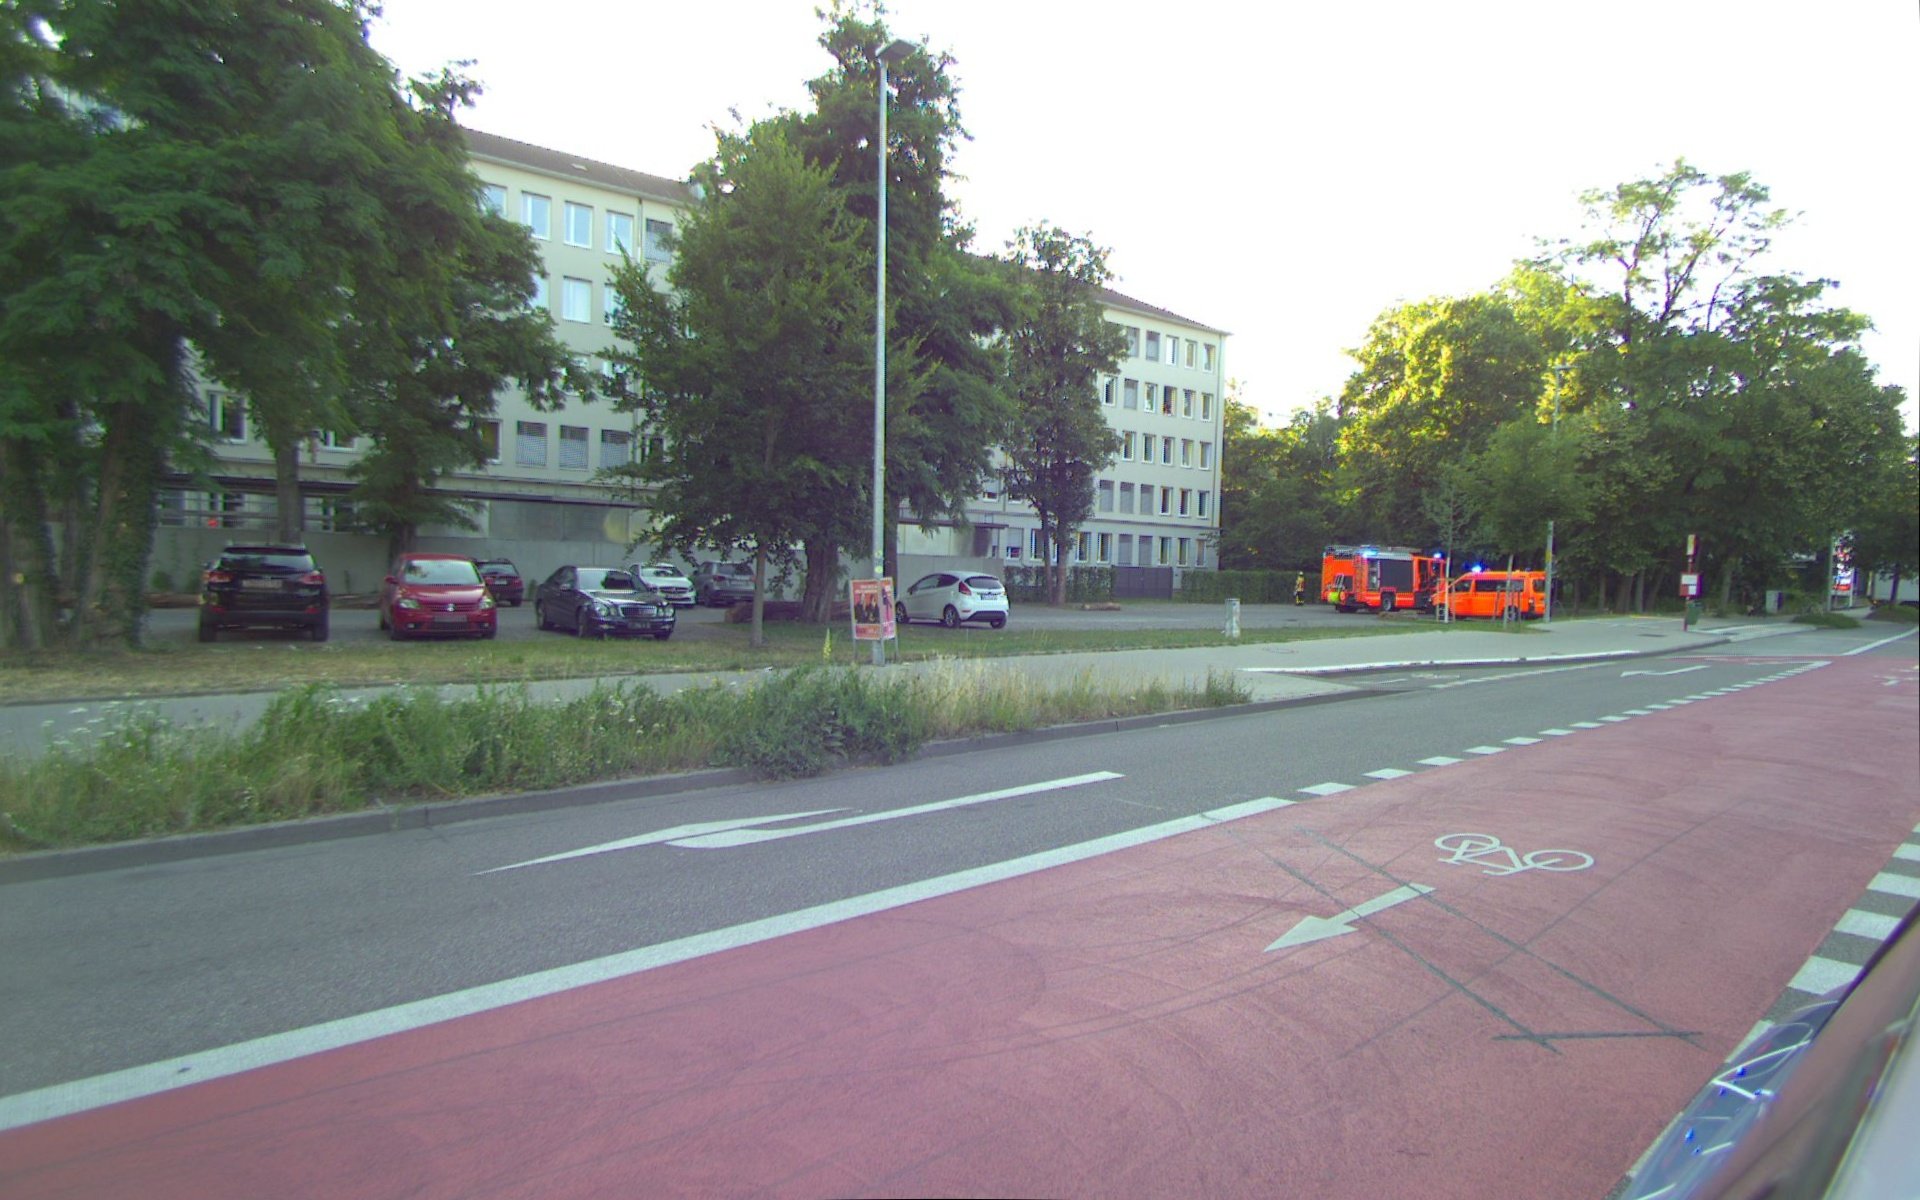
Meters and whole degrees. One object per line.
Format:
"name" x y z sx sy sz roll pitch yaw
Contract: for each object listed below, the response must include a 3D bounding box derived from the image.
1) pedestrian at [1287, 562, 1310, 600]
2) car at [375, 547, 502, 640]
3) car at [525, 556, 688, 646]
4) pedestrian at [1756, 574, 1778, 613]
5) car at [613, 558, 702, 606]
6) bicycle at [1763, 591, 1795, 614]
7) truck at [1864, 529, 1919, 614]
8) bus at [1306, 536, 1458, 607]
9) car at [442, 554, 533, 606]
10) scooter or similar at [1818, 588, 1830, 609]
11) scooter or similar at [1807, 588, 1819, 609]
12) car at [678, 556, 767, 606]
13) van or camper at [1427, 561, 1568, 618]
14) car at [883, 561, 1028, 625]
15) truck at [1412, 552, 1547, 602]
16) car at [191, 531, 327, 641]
"pedestrian" 18.615 -1.064 55.624 0.810 2.038 0.774 1 2 -32
"car" -10.155 -0.194 19.554 1.751 1.580 4.003 0 2 -34
"car" -7.447 -0.085 21.014 1.866 1.465 4.584 -2 6 -37
"pedestrian" 43.591 -0.368 54.667 0.717 2.038 0.690 2 2 23
"car" -10.144 -0.625 33.732 1.798 1.494 4.002 0 1 -33
"bicycle" 44.061 0.121 54.443 0.824 1.111 1.952 2 2 25
"truck" 69.085 -1.731 65.927 15.035 5.642 5.080 3 3 43
"bus" 20.749 -1.328 49.580 7.810 3.236 2.999 0 1 -34
"car" -14.464 -0.629 30.875 1.866 1.460 4.001 0 2 -35
"scooter or similar" 54.813 -0.081 64.209 0.482 1.297 1.123 5 3 41
"scooter or similar" 53.242 -0.095 63.140 0.482 1.297 1.213 5 3 40
"car" -8.354 -0.691 35.428 1.875 1.636 4.004 -1 2 -32
"van or camper" 22.974 -0.498 43.407 2.251 2.272 4.831 0 1 -34
"car" -0.203 -0.227 27.031 1.876 1.556 3.999 0 2 -37
"truck" 36.659 -1.722 71.864 2.703 3.250 8.683 1 2 -24
"car" -12.399 -0.280 17.895 1.802 1.715 3.910 0 1 -36
